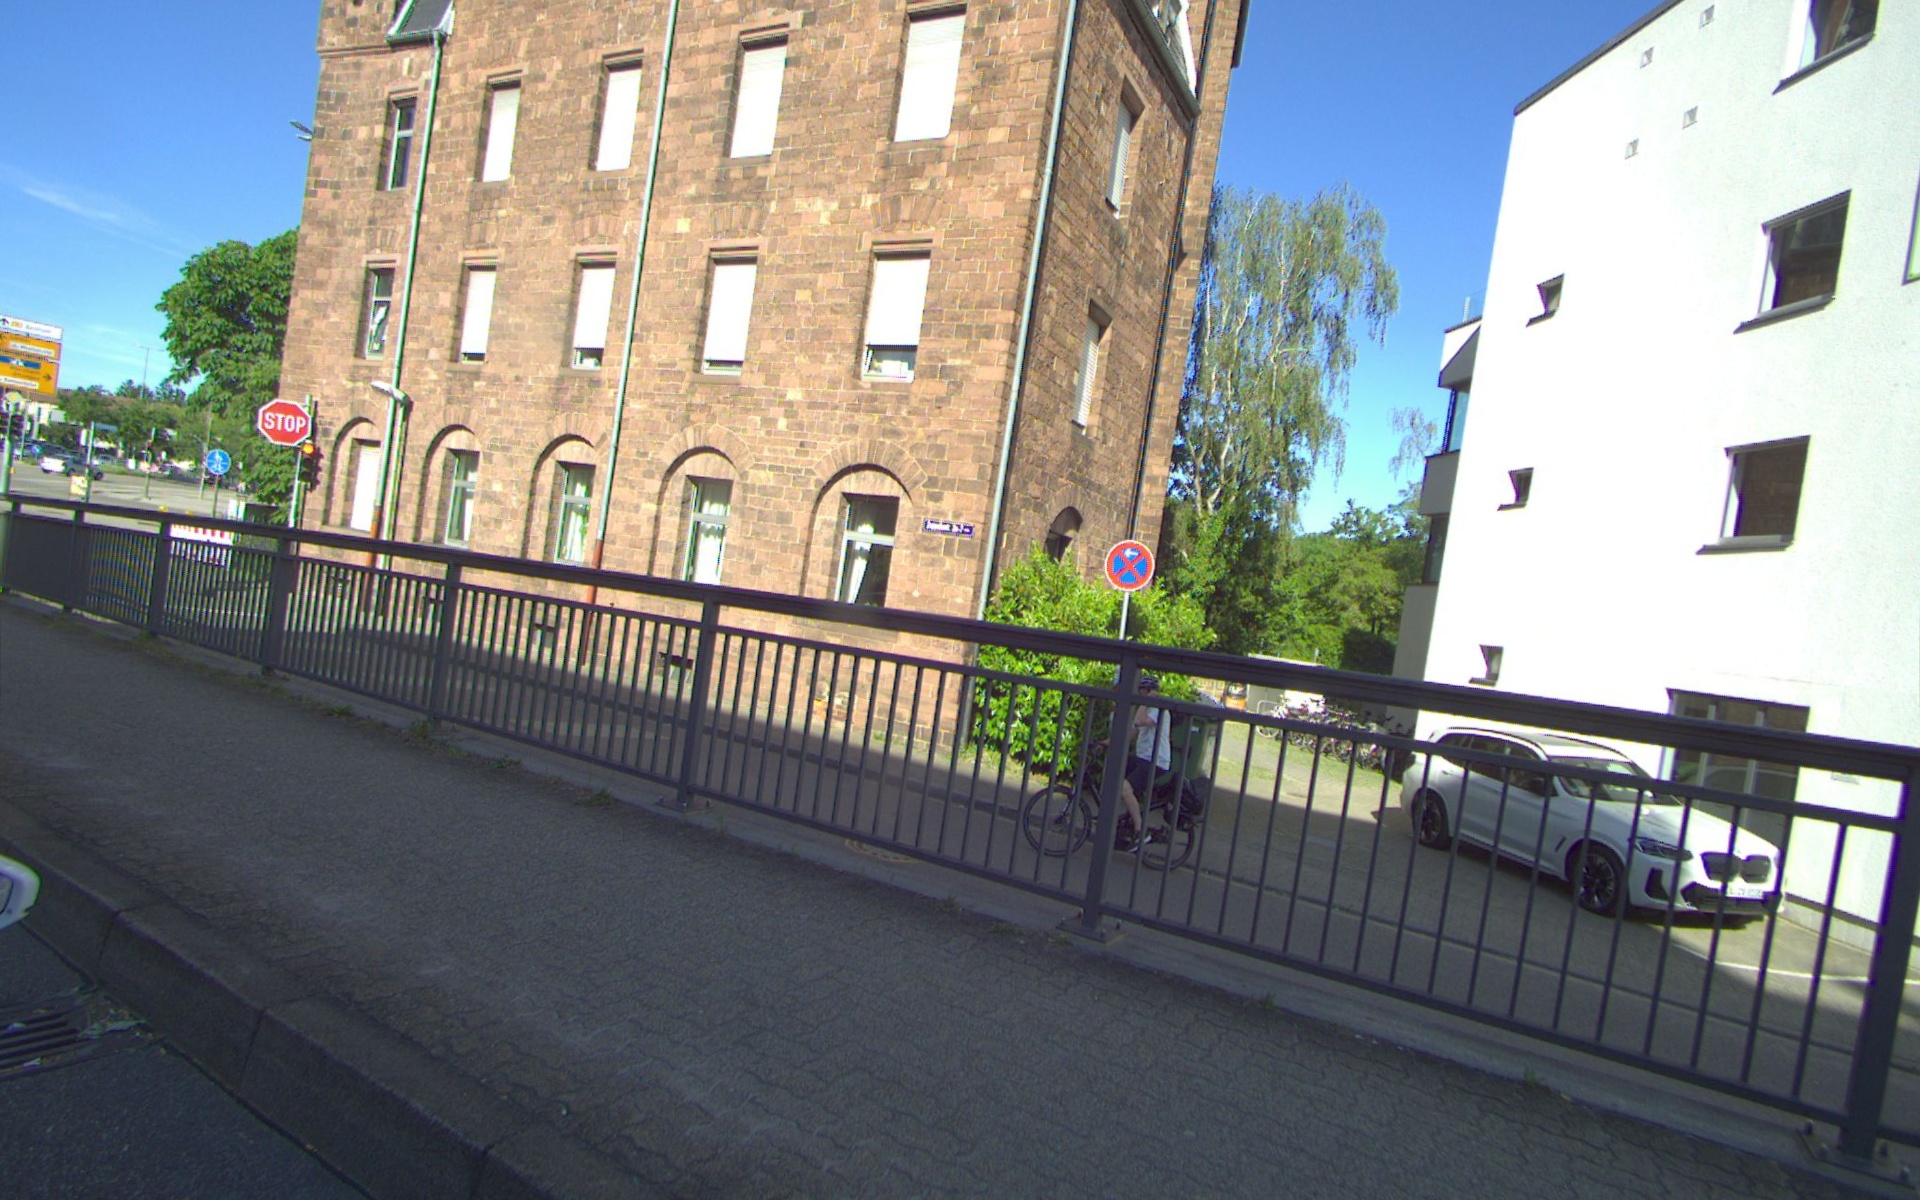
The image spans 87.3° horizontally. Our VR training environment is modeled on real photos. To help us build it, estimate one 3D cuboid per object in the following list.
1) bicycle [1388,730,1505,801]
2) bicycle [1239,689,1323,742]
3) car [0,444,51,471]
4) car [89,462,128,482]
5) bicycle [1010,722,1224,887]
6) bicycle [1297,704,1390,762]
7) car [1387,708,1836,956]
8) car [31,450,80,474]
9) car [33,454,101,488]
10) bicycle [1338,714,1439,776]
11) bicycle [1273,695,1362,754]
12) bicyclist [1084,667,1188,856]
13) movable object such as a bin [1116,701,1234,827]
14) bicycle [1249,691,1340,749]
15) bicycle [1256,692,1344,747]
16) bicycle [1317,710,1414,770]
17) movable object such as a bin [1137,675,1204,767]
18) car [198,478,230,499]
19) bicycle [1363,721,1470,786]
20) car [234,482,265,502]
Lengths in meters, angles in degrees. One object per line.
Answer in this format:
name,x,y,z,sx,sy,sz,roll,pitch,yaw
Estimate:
bicycle,9.605,3.258,19.888,1.889,1.065,0.664,8,1,-6
bicycle,9.032,3.253,28.328,2.075,1.174,0.664,8,1,-9
car,-78.953,-11.999,84.928,1.860,1.598,3.977,8,1,-22
car,-90.689,-13.652,107.206,1.860,1.598,3.977,8,1,-22
bicycle,1.470,1.921,9.631,1.804,1.154,0.690,9,0,6
bicycle,9.269,3.213,24.344,1.889,1.065,0.664,8,1,-6
car,7.459,2.570,12.231,1.814,1.707,4.520,8,0,-10
car,-81.416,-12.387,90.608,1.860,1.598,3.977,8,1,-22
car,-61.424,-8.855,69.251,1.863,1.650,3.984,8,0,-17
bicycle,9.544,3.232,22.431,1.889,1.065,0.664,8,1,-6
bicycle,9.058,3.152,25.510,1.889,1.174,0.664,8,1,-6
bicyclist,1.664,1.509,9.611,0.683,1.627,0.688,9,0,5
movable object such as a bin,2.687,2.007,12.526,1.011,1.307,1.005,10,0,29
bicycle,8.789,3.150,26.441,2.075,1.174,0.664,8,1,-9
bicycle,9.282,3.255,27.477,2.075,1.174,0.664,8,1,-9
bicycle,9.381,3.249,23.318,1.889,1.065,0.664,8,1,-6
movable object such as a bin,4.085,2.318,19.477,1.009,1.539,1.007,10,0,13
car,-79.436,-11.880,107.149,1.868,1.565,3.976,8,-2,-26
bicycle,9.755,3.280,21.519,1.889,1.065,0.664,8,1,-6
car,-73.161,-11.141,103.612,1.723,1.515,3.976,7,-1,-25
